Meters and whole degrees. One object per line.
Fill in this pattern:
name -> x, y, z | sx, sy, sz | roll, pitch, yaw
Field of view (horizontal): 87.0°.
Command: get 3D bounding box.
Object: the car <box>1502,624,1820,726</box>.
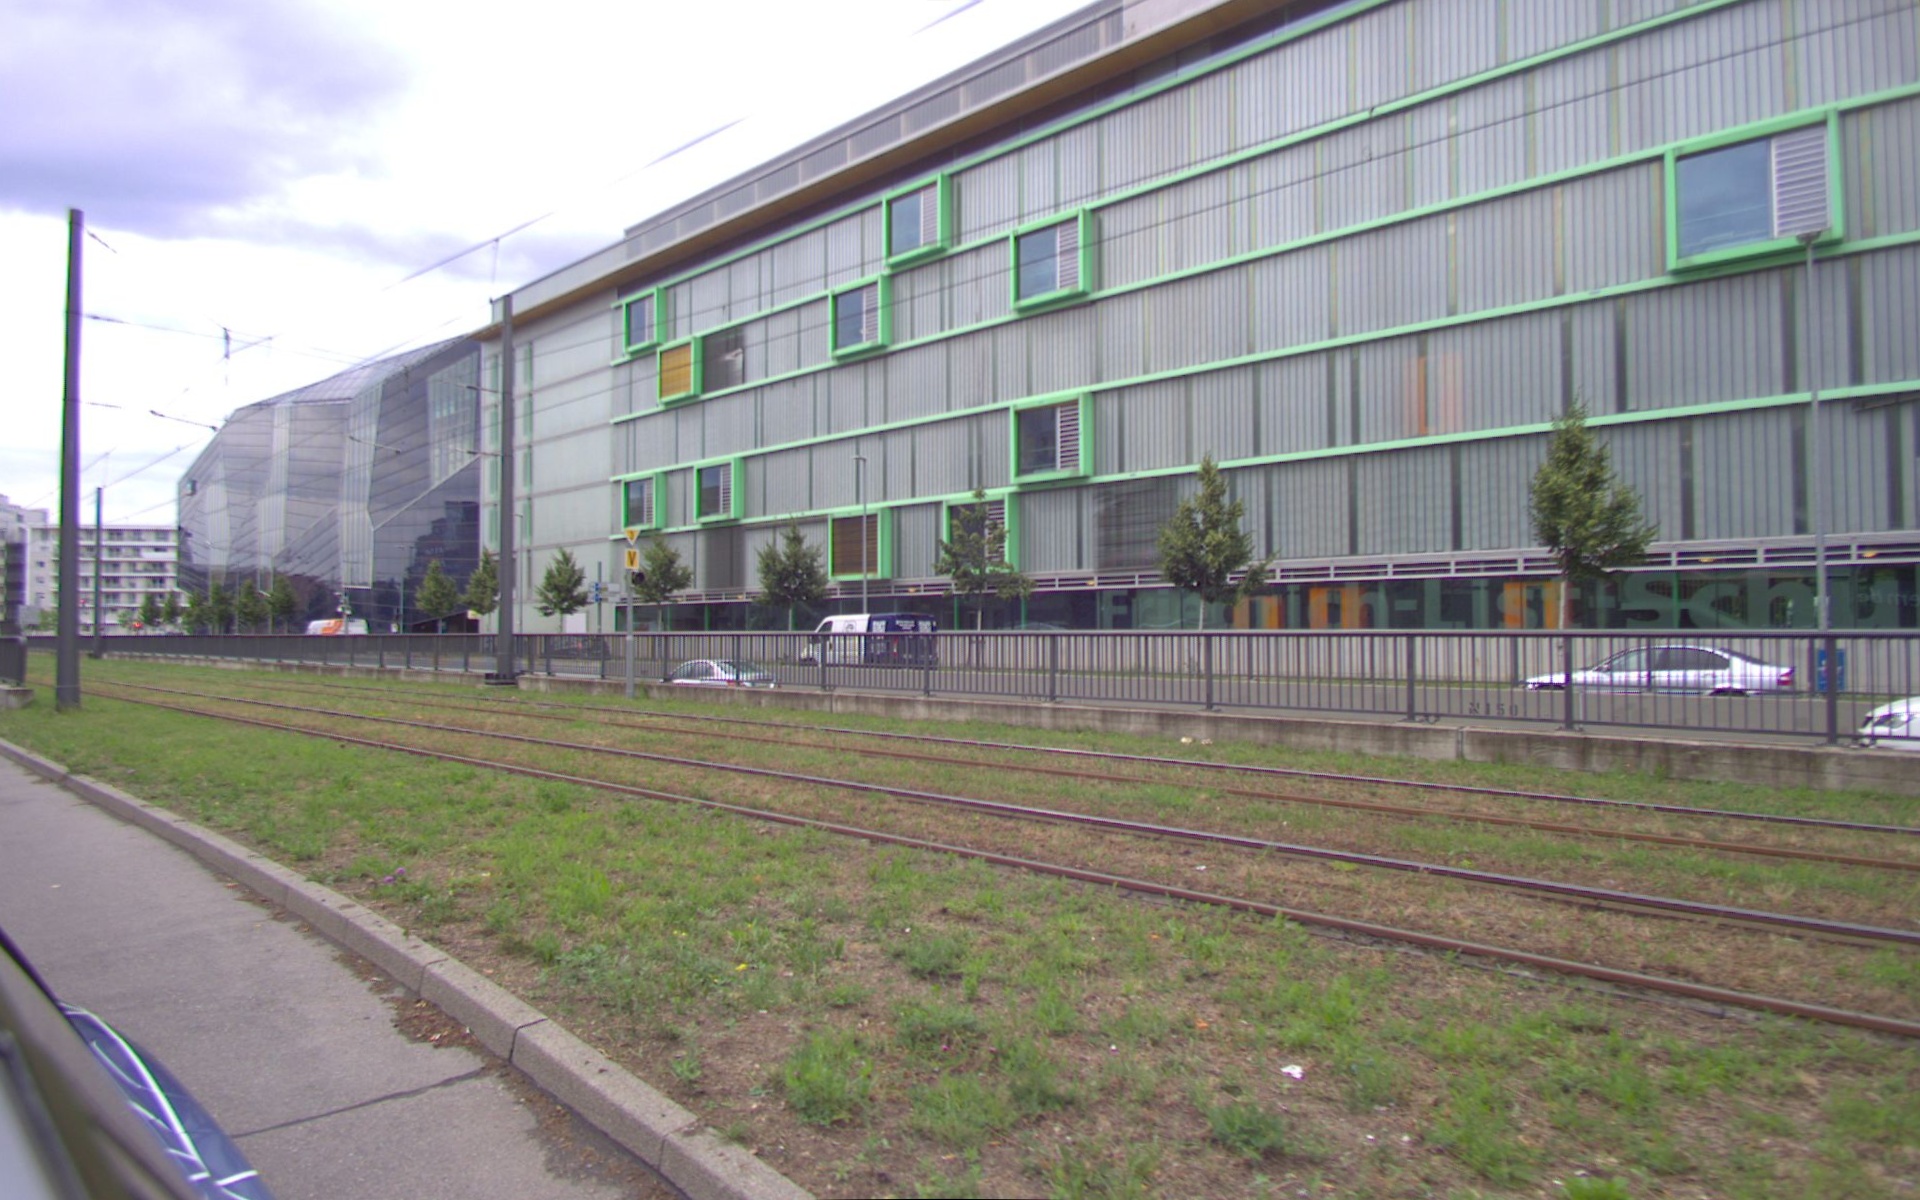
car -> 12.899, 1.308, 18.844 | 4.642, 1.679, 1.973 | -2, -2, 40

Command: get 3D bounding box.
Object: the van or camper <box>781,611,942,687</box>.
van or camper -> -3.288, 1.595, 33.123 | 5.355, 2.304, 2.150 | -3, -3, 41

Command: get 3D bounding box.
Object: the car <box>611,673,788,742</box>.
car -> -6.669, 2.655, 25.581 | 4.966, 1.526, 1.764 | -4, -4, 39

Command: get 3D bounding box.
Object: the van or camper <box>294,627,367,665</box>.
van or camper -> -40.091, 2.936, 64.339 | 6.503, 2.304, 2.150 | -3, -2, 41

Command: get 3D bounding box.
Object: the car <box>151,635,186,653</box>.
car -> -78.904, 4.399, 100.880 | 4.766, 1.605, 1.972 | -5, -5, 43

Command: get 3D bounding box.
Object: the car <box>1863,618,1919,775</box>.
car -> 11.936, 0.935, 9.918 | 4.371, 1.598, 1.975 | -3, -3, 37

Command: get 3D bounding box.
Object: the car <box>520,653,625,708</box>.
car -> -16.893, 3.516, 43.996 | 4.964, 2.029, 1.974 | -8, -5, 38
